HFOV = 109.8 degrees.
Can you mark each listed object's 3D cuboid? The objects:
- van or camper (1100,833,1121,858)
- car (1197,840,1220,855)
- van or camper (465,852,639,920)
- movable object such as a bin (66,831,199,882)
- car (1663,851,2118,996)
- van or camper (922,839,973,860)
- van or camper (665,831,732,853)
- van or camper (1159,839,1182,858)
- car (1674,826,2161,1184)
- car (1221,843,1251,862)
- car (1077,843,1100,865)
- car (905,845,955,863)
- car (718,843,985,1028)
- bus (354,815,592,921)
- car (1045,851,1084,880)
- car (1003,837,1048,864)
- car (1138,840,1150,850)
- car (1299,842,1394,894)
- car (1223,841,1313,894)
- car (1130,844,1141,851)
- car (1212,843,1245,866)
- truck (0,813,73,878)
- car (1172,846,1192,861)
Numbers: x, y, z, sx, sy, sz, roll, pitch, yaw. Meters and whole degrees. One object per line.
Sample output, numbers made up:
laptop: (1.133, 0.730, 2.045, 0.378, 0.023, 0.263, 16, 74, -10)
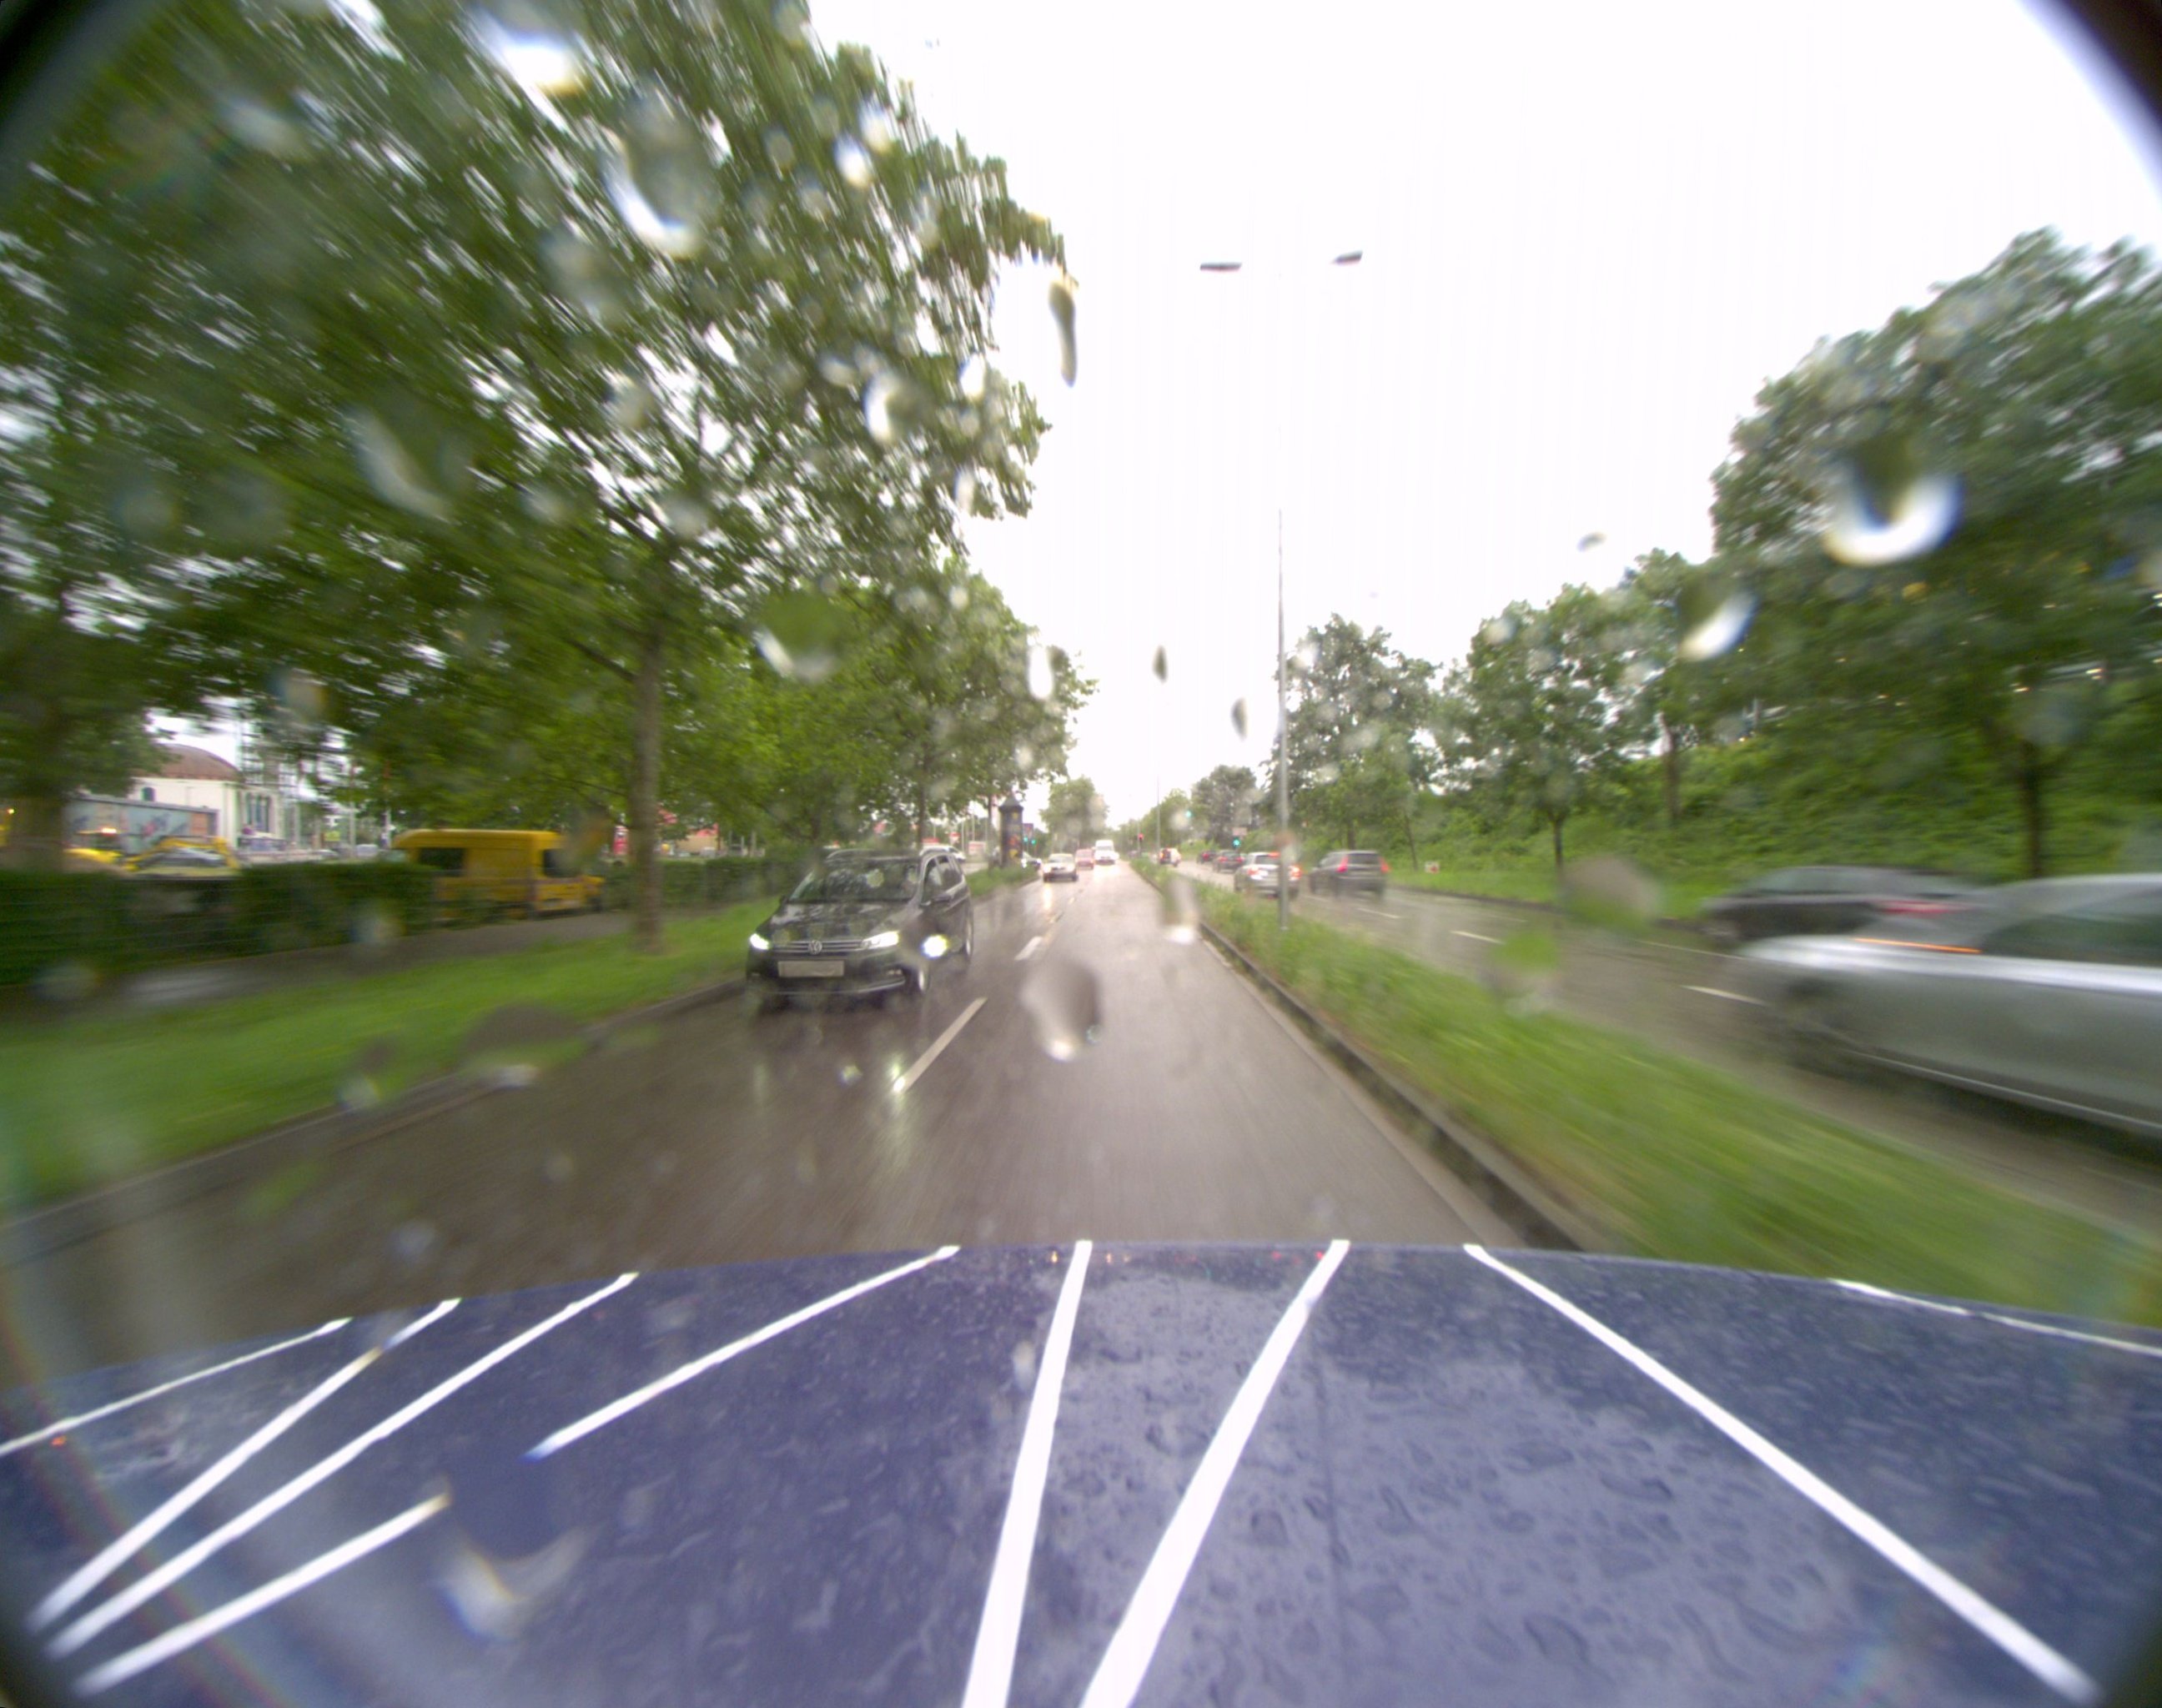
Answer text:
van or camper: (3.174, -0.906, 81.588, 2.099, 2.580, 4.776, -2, 1, 3)
car: (14.519, -0.712, 86.731, 2.042, 1.651, 4.678, 0, 1, 2)
van or camper: (-16.113, 0.930, 23.308, 3.997, 1.896, 1.801, -1, 1, -2)
movable object such as a bin: (-44.689, 0.079, 35.904, 3.285, 2.342, 2.009, -1, 2, -21)
car: (11.605, 0.837, 11.574, 1.998, 1.678, 4.709, 1, 1, 3)
van or camper: (-13.945, -0.507, 79.257, 4.917, 2.076, 1.863, 0, 2, -36)
van or camper: (-59.204, -1.905, 117.725, 8.994, 3.140, 2.979, -3, 3, -33)
van or camper: (8.454, -0.516, 72.272, 1.732, 1.732, 3.999, 2, 1, 1)
car: (5.708, 0.681, 3.697, 1.913, 1.565, 4.708, 2, 1, 0)
car: (13.878, -0.134, 68.306, 1.903, 1.604, 4.477, 0, 1, 1)
car: (0.677, -0.061, 64.010, 1.699, 1.759, 4.558, 0, 1, 3)
car: (-14.846, -0.026, 74.695, 4.470, 1.663, 1.863, 0, 2, -36)
car: (-2.487, 0.762, 9.440, 1.861, 1.716, 4.190, -2, 1, 2)
bus: (-16.118, 0.360, 20.312, 4.803, 2.632, 2.000, -1, 1, 4)
car: (-0.857, 0.612, 41.708, 1.806, 1.422, 4.386, -1, 1, 3)
car: (-4.429, -0.337, 59.949, 1.935, 2.044, 4.744, 0, 1, -26)
car: (10.605, -1.479, 127.985, 1.780, 1.553, 3.773, -1, 1, 3)
car: (9.547, 0.425, 27.733, 1.998, 1.678, 4.709, 2, 1, 3)
car: (6.266, 0.391, 25.920, 1.903, 1.604, 4.110, 2, 1, -2)
car: (12.077, -1.392, 169.079, 1.977, 1.592, 4.385, 0, 1, -4)
car: (11.029, -0.009, 56.963, 1.902, 1.604, 4.112, 2, 1, 4)
truck: (-56.616, -0.411, 39.031, 2.500, 3.327, 9.444, -3, 3, -33)
car: (12.071, -0.081, 90.892, 1.903, 1.604, 4.711, 2, 1, 2)
